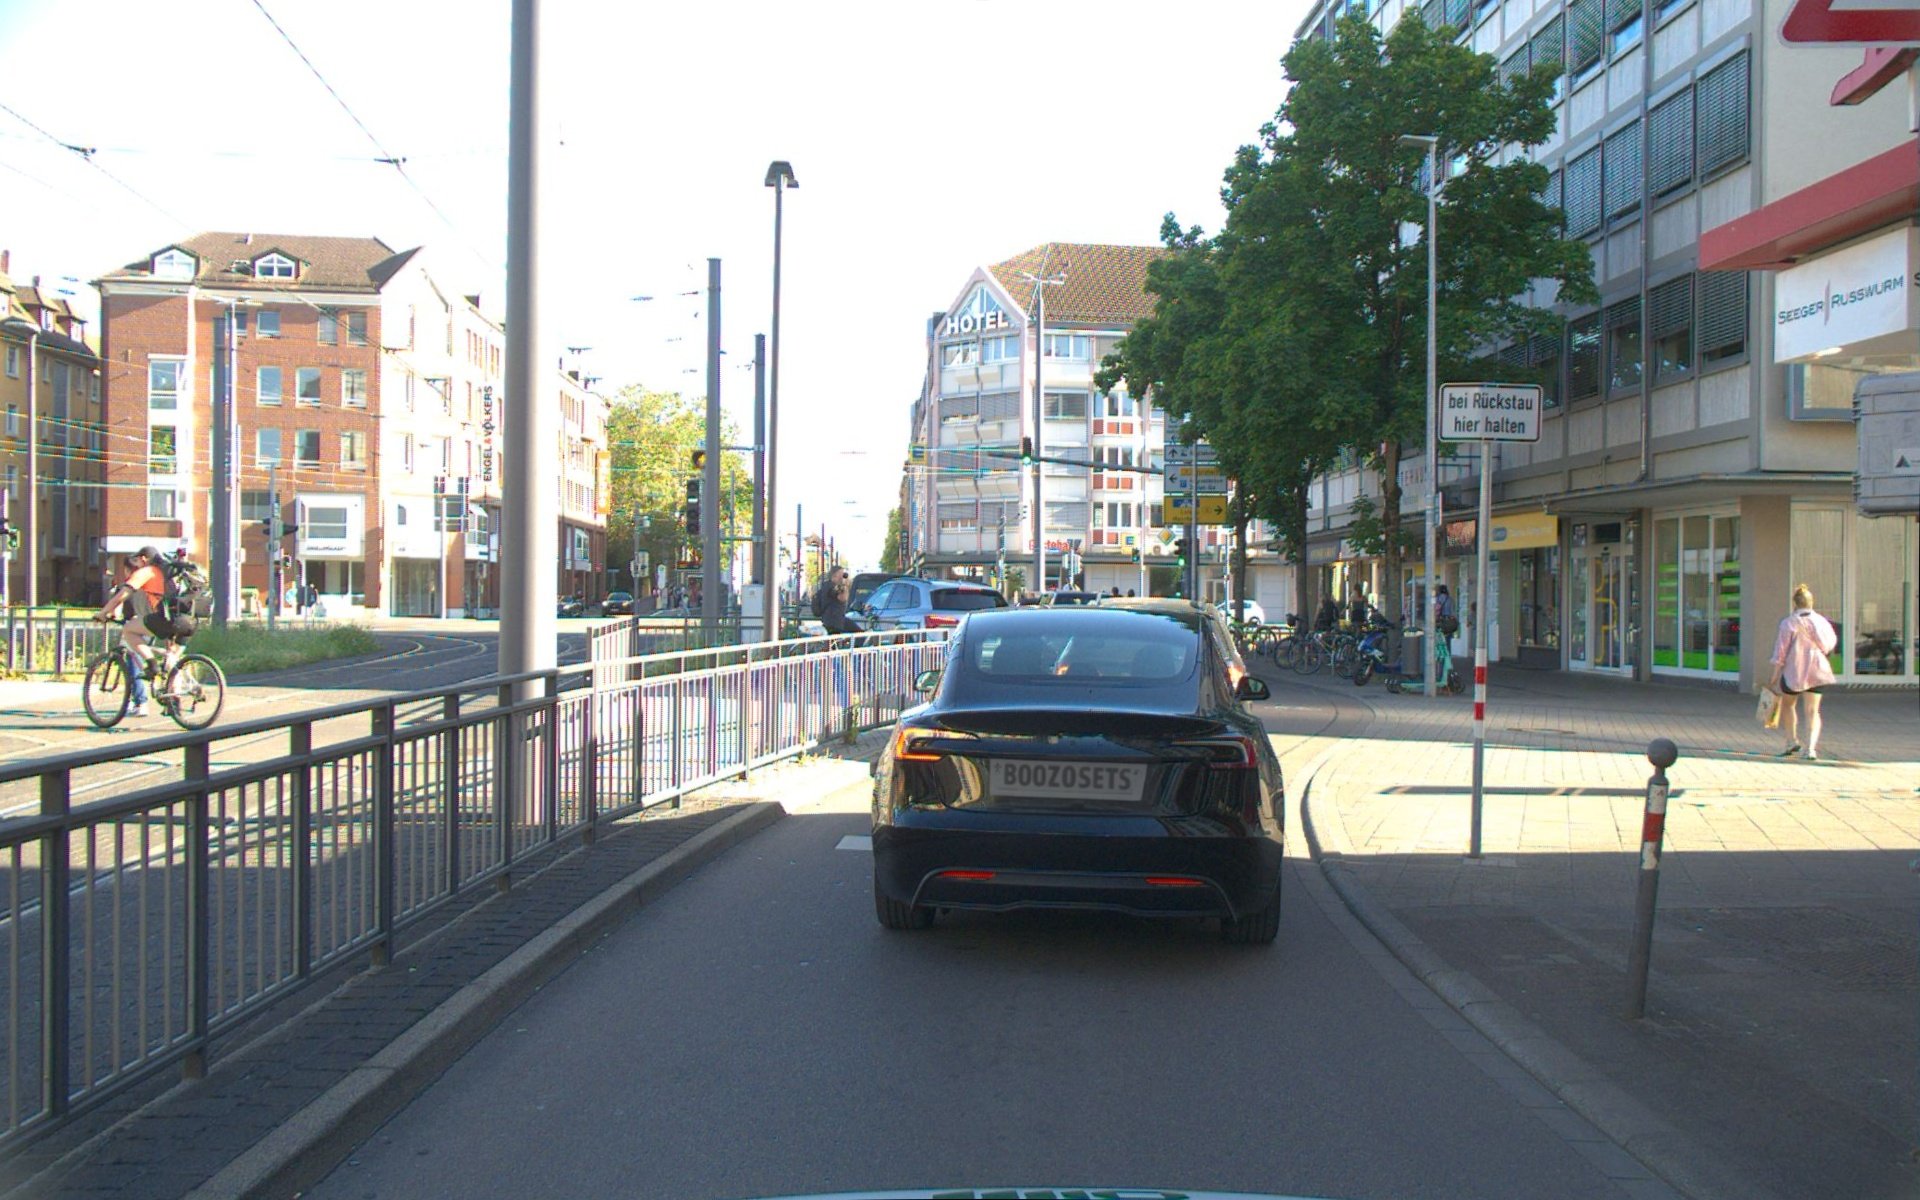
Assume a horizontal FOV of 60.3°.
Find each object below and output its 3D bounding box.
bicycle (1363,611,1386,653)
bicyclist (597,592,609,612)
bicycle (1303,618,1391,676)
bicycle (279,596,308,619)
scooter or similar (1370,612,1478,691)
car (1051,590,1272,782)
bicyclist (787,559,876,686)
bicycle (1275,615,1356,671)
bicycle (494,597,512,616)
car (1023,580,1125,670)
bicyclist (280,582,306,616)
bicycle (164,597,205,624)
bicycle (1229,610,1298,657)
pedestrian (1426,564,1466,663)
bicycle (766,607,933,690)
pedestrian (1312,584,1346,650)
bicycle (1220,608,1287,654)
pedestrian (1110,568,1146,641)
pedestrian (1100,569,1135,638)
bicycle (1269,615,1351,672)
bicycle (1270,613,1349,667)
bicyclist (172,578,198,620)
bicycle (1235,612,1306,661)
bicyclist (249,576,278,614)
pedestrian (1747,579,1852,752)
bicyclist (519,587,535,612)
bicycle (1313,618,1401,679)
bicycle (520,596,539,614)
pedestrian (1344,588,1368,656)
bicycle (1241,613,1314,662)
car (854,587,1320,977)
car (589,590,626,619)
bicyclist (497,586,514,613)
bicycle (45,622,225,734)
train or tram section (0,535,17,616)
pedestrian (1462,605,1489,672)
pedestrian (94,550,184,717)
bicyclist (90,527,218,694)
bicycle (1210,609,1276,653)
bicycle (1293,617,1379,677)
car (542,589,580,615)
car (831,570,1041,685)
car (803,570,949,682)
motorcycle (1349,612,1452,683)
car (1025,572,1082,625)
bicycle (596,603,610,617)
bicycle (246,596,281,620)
[{"bbox_3d":[10.747,0.822,42.900,0.325,1.052,1.257,1,0,3],"label":"bicycle"},{"bbox_3d":[-28.849,0.153,133.755,0.767,1.590,0.746,1,-1,1],"label":"bicyclist"},{"bbox_3d":[7.380,0.897,31.560,1.620,1.079,0.349,1,-1,-11],"label":"bicycle"},{"bbox_3d":[-29.678,0.331,73.677,0.396,0.998,1.695,1,0,7],"label":"bicycle"},{"bbox_3d":[7.659,0.838,27.306,1.610,1.236,0.644,1,-1,30],"label":"scooter or similar"},{"bbox_3d":[1.782,0.665,15.060,1.714,1.480,4.003,1,0,6],"label":"car"},{"bbox_3d":[-1.728,0.300,22.199,0.753,1.657,0.964,1,-1,-39],"label":"bicyclist"},{"bbox_3d":[7.361,0.890,34.275,1.620,1.118,0.349,1,-1,-11],"label":"bicycle"},{"bbox_3d":[-26.698,0.378,96.731,0.526,1.107,2.223,1,0,-3],"label":"bicycle"},{"bbox_3d":[2.384,0.512,35.437,1.567,1.809,3.976,1,0,-5],"label":"car"},{"bbox_3d":[-29.700,-0.030,73.695,0.689,1.496,0.973,0,0,7],"label":"bicyclist"},{"bbox_3d":[-28.330,0.384,60.427,0.437,0.988,2.246,1,0,-1],"label":"bicycle"},{"bbox_3d":[7.424,0.818,40.454,1.616,1.118,0.350,1,-1,1],"label":"bicycle"},{"bbox_3d":[10.165,0.281,34.605,0.648,2.049,0.579,1,-1,1],"label":"pedestrian"},{"bbox_3d":[-1.473,0.653,22.434,2.313,1.072,0.622,1,-1,-39],"label":"bicycle"},{"bbox_3d":[9.554,0.438,42.837,0.685,1.691,0.777,1,-1,-1],"label":"pedestrian"},{"bbox_3d":[7.358,0.775,41.499,1.616,1.118,0.350,0,0,1],"label":"bicycle"},{"bbox_3d":[4.778,0.124,47.040,0.902,2.049,0.972,1,-1,-1],"label":"pedestrian"},{"bbox_3d":[4.732,0.101,49.733,0.902,2.049,0.972,1,-1,-1],"label":"pedestrian"},{"bbox_3d":[7.092,0.886,33.507,1.620,1.118,0.349,1,-1,-11],"label":"bicycle"},{"bbox_3d":[7.495,0.859,35.462,1.616,1.118,0.350,1,-1,1],"label":"bicycle"},{"bbox_3d":[-28.314,-0.034,60.426,0.620,1.529,0.696,1,-1,-1],"label":"bicyclist"},{"bbox_3d":[7.395,0.865,39.440,1.616,1.118,0.350,1,-1,1],"label":"bicycle"},{"bbox_3d":[-28.345,-0.203,67.297,0.880,1.529,0.696,1,-1,-1],"label":"bicyclist"},{"bbox_3d":[8.518,0.643,16.817,0.871,1.696,0.808,1,-1,23],"label":"pedestrian"},{"bbox_3d":[-26.756,-0.036,102.247,0.767,1.590,0.746,0,0,1],"label":"bicyclist"},{"bbox_3d":[7.476,0.917,31.140,1.620,1.118,0.349,1,-1,-11],"label":"bicycle"},{"bbox_3d":[-26.741,0.302,102.792,0.518,1.108,2.284,0,0,1],"label":"bicycle"},{"bbox_3d":[10.325,0.569,43.112,0.515,1.740,0.403,1,-1,2],"label":"pedestrian"},{"bbox_3d":[7.379,0.864,38.413,1.616,1.118,0.350,1,-1,1],"label":"bicycle"},{"bbox_3d":[0.632,0.714,8.457,1.791,1.481,4.002,1,0,4],"label":"car"},{"bbox_3d":[-22.496,0.276,105.630,1.663,1.762,3.704,1,0,-3],"label":"car"},{"bbox_3d":[-26.732,-0.020,97.323,0.768,1.590,0.746,1,-1,-3],"label":"bicyclist"},{"bbox_3d":[-7.838,0.732,15.729,1.563,1.011,0.404,1,-1,8],"label":"bicycle"},{"bbox_3d":[-43.166,-1.060,64.107,11.036,3.185,2.796,1,0,-13],"label":"train or tram section"},{"bbox_3d":[10.694,0.792,34.327,0.381,1.367,0.513,1,-1,1],"label":"pedestrian"},{"bbox_3d":[-8.635,0.344,17.412,0.579,1.710,0.773,1,-1,-6],"label":"pedestrian"},{"bbox_3d":[-7.658,0.095,15.719,1.018,1.548,0.392,1,-1,8],"label":"bicyclist"},{"bbox_3d":[7.288,0.800,42.592,1.616,1.118,0.350,1,-1,1],"label":"bicycle"},{"bbox_3d":[7.275,0.908,31.982,1.620,1.118,0.349,1,-1,-11],"label":"bicycle"},{"bbox_3d":[-24.643,0.128,102.318,1.677,1.553,4.031,1,0,-5],"label":"car"},{"bbox_3d":[-0.472,0.409,26.578,1.859,1.691,4.125,1,0,-25],"label":"car"},{"bbox_3d":[-1.729,0.484,32.549,1.962,2.049,3.981,0,0,-17],"label":"car"},{"bbox_3d":[7.807,0.839,29.338,1.673,1.194,0.541,1,-1,-3],"label":"motorcycle"},{"bbox_3d":[3.253,-0.031,58.085,1.685,1.781,3.753,1,0,-1],"label":"car"},{"bbox_3d":[-28.881,0.774,133.821,0.518,1.107,2.225,1,0,1],"label":"bicycle"},{"bbox_3d":[-28.348,0.323,67.329,0.513,0.988,2.246,1,0,-1],"label":"bicycle"}]
